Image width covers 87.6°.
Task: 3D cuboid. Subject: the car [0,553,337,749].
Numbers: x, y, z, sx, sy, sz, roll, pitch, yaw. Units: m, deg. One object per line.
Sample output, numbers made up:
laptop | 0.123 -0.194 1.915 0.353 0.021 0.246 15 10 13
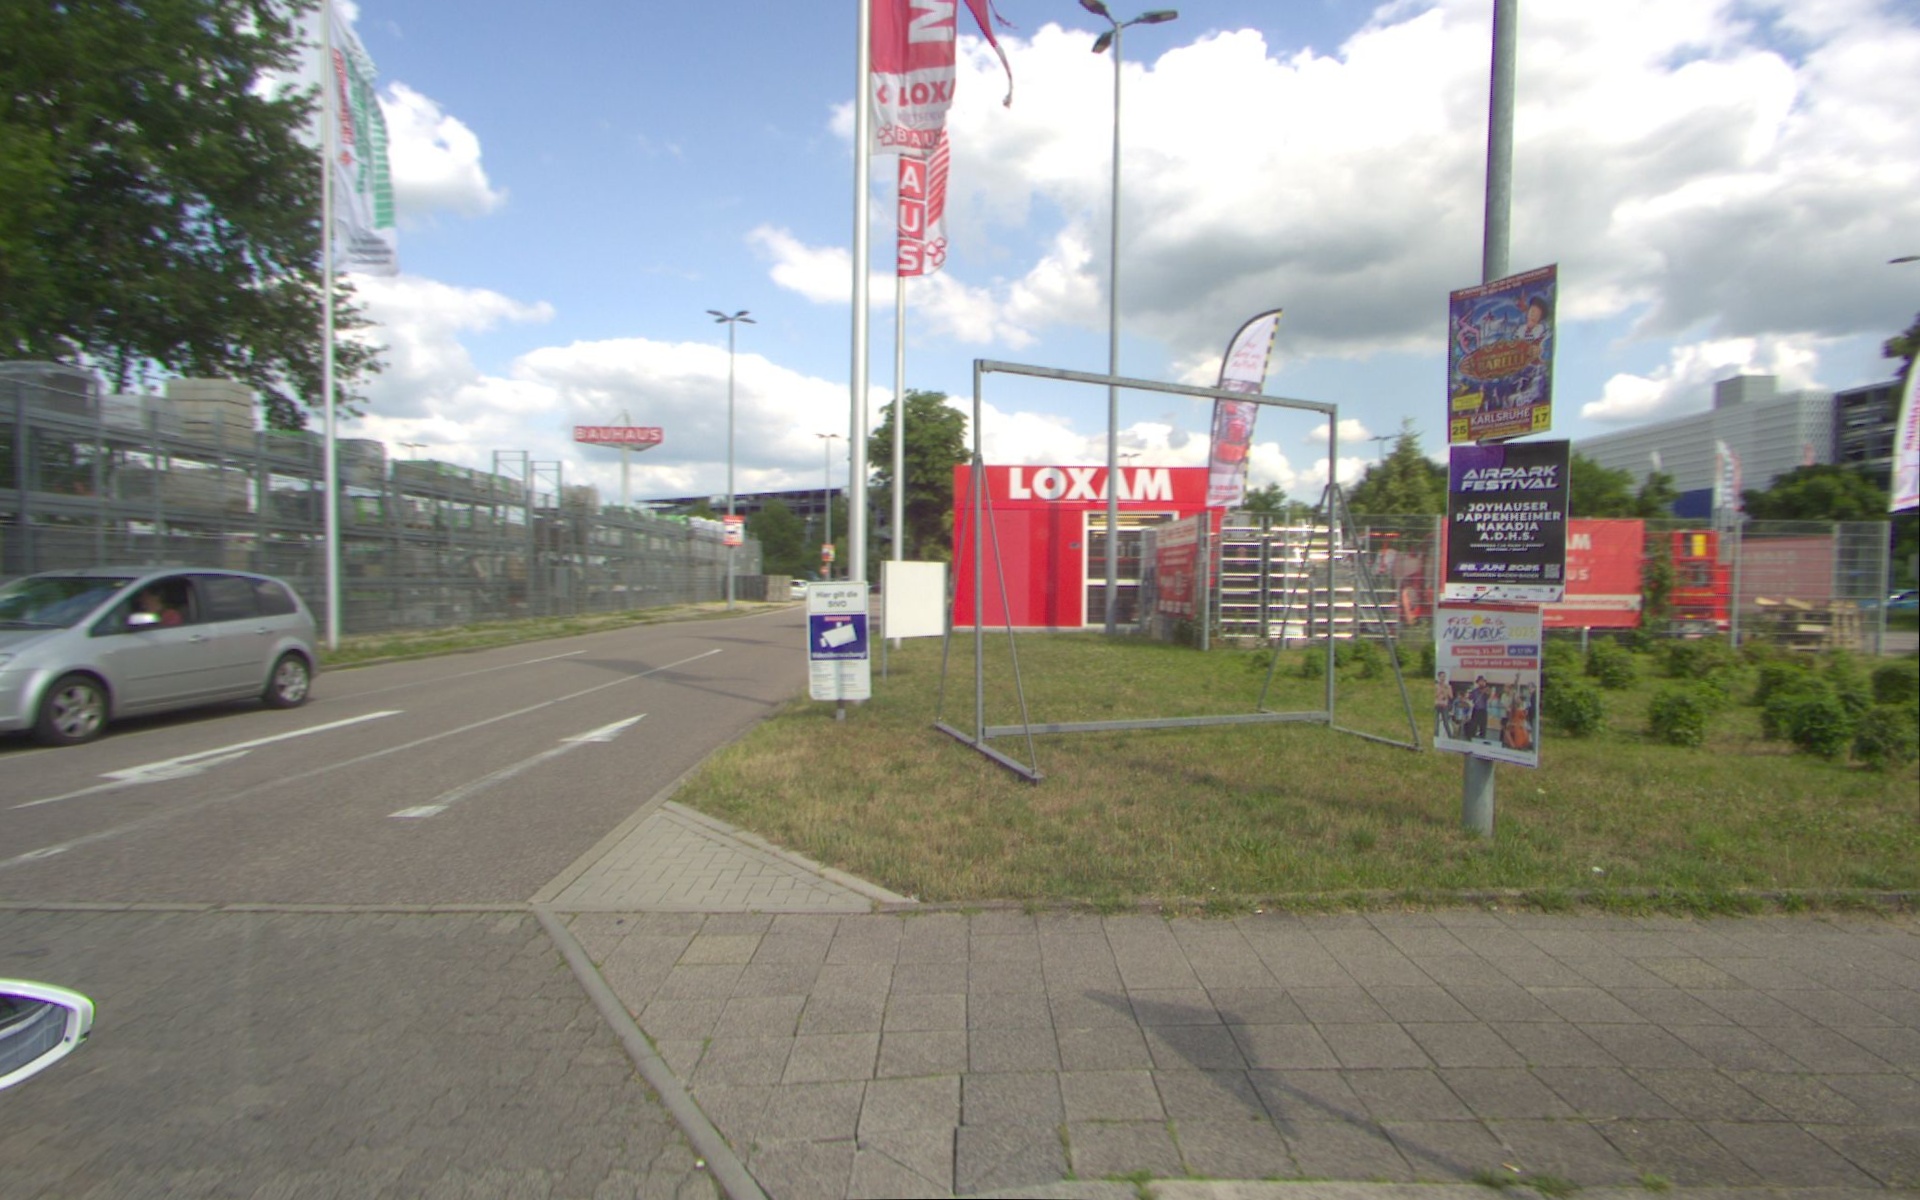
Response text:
car | -8.480 0.363 10.000 1.689 1.586 4.207 1 1 3

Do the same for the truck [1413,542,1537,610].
truck | 29.725 -1.416 58.352 2.677 3.648 9.031 0 2 1

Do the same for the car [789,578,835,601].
car | -10.525 -0.763 71.391 2.843 1.536 1.530 1 2 20

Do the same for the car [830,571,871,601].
car | -6.359 -0.855 58.817 1.884 1.640 4.371 0 2 0
